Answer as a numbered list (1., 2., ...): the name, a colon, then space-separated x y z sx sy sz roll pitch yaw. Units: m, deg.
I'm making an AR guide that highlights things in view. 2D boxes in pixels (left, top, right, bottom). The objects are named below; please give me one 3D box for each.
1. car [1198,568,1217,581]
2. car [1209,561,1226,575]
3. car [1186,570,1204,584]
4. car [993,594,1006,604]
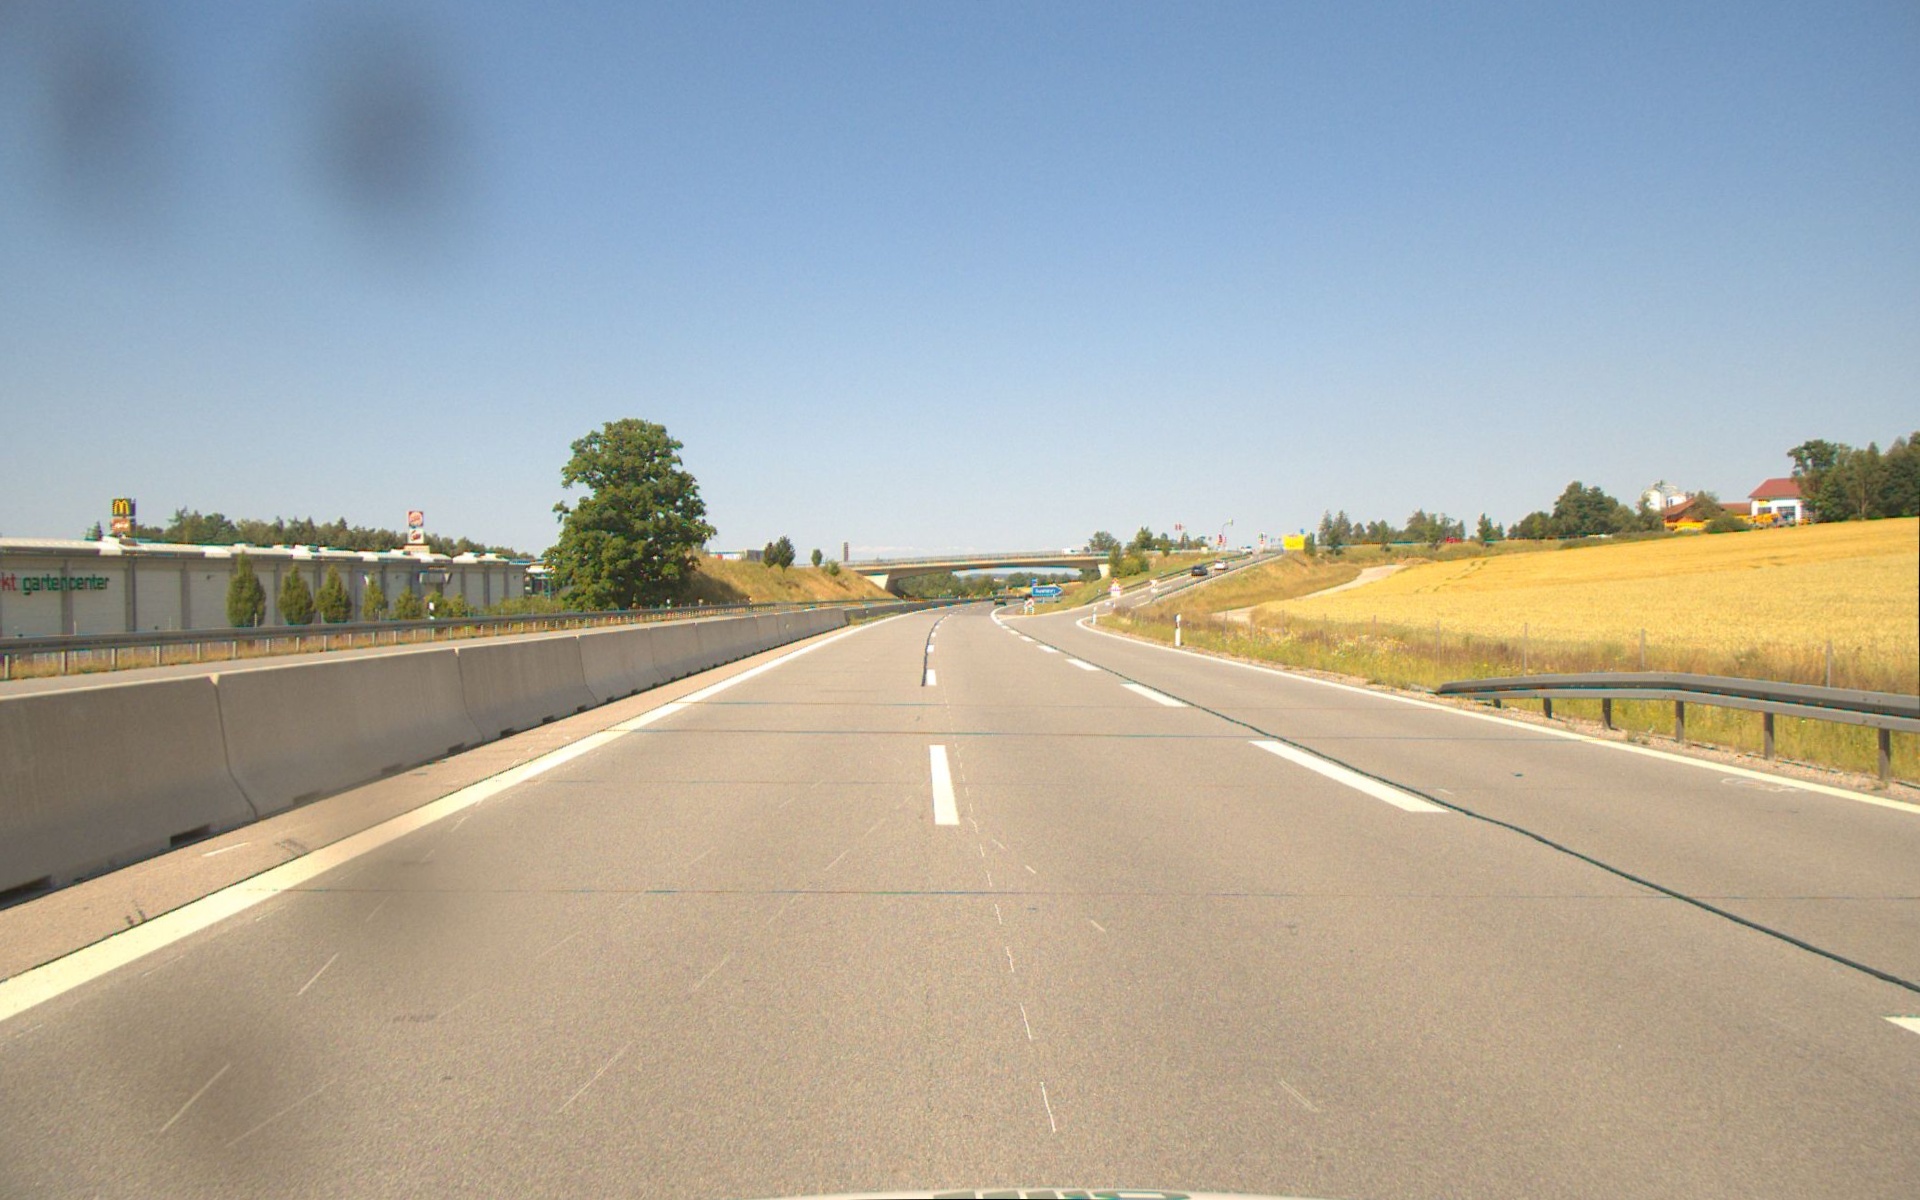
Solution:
1. car: 35.143 -3.612 234.810 1.951 1.646 4.003 -2 0 17
2. car: 40.099 -5.012 257.692 1.951 2.049 4.003 -2 0 17
3. car: 34.778 -3.420 245.004 1.951 2.049 4.003 -2 0 17
4. car: 6.048 -0.122 253.845 1.952 1.445 4.001 -2 0 2
